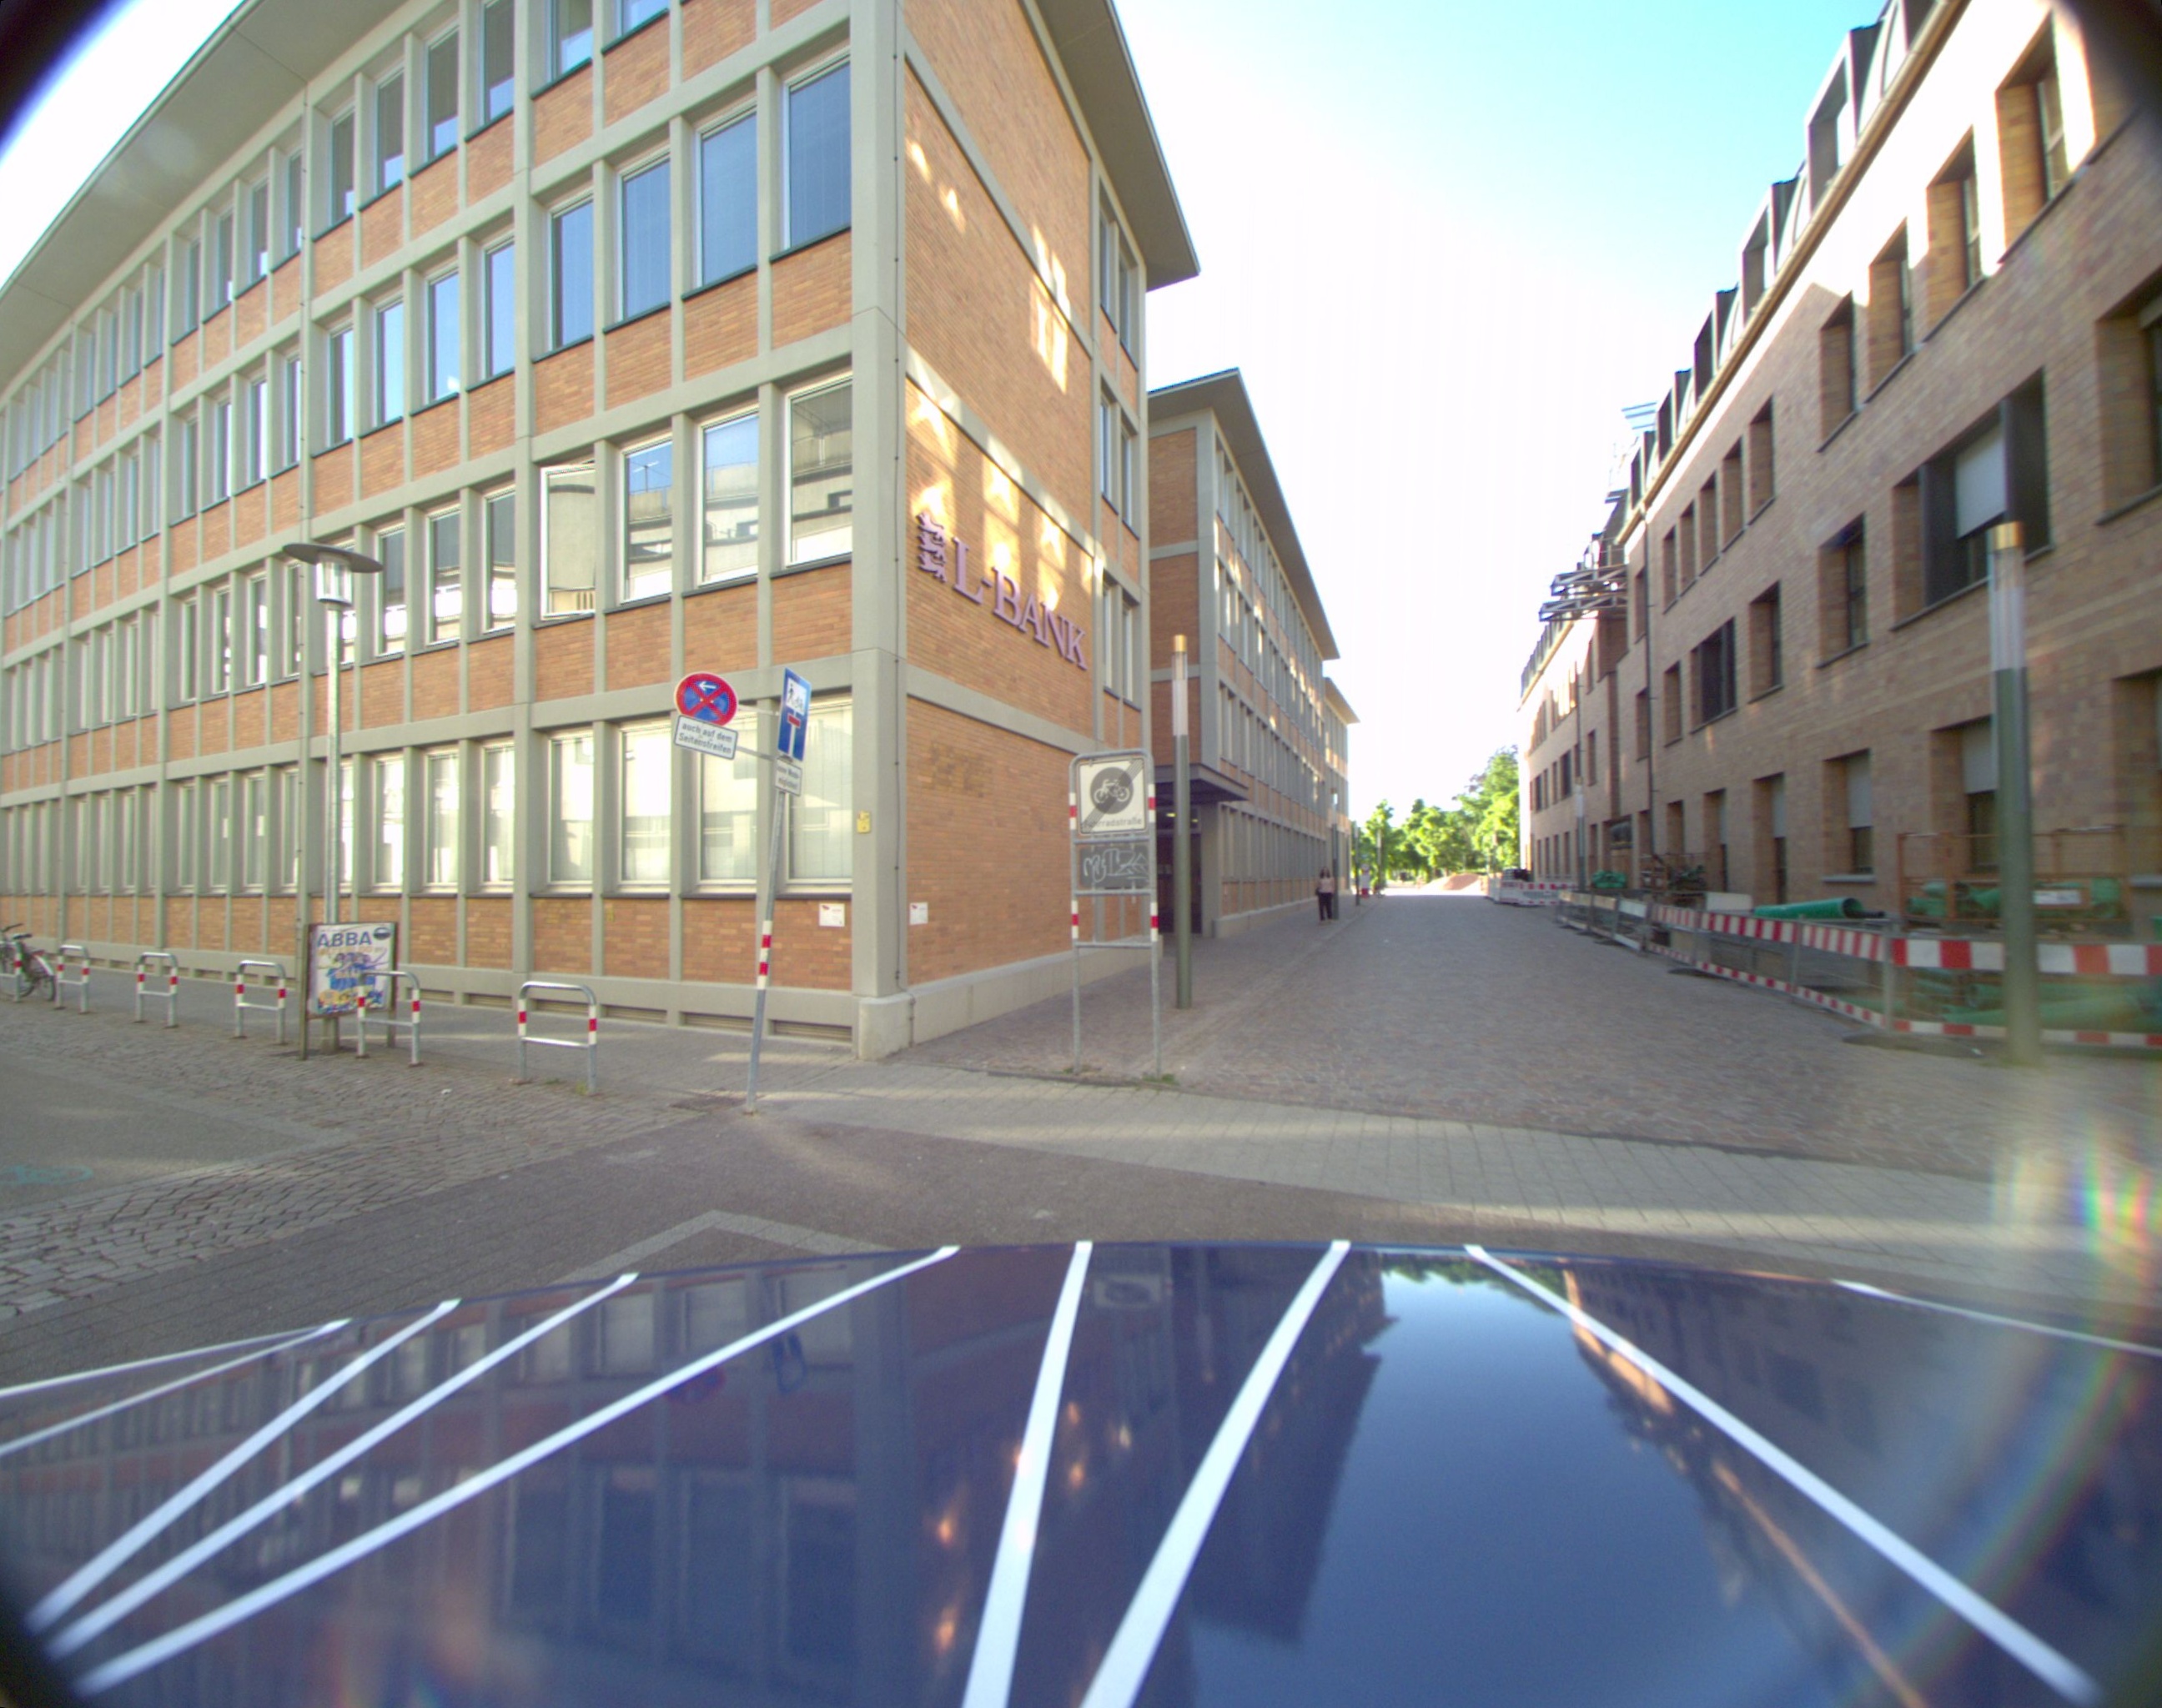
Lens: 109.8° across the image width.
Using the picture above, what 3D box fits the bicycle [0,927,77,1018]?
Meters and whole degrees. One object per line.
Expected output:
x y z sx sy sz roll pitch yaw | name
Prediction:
-14.941 1.617 10.626 1.926 1.109 0.639 -1 -1 23 | bicycle

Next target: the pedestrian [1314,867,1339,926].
7.606 1.311 23.529 0.637 1.774 0.653 -1 -3 24 | pedestrian
